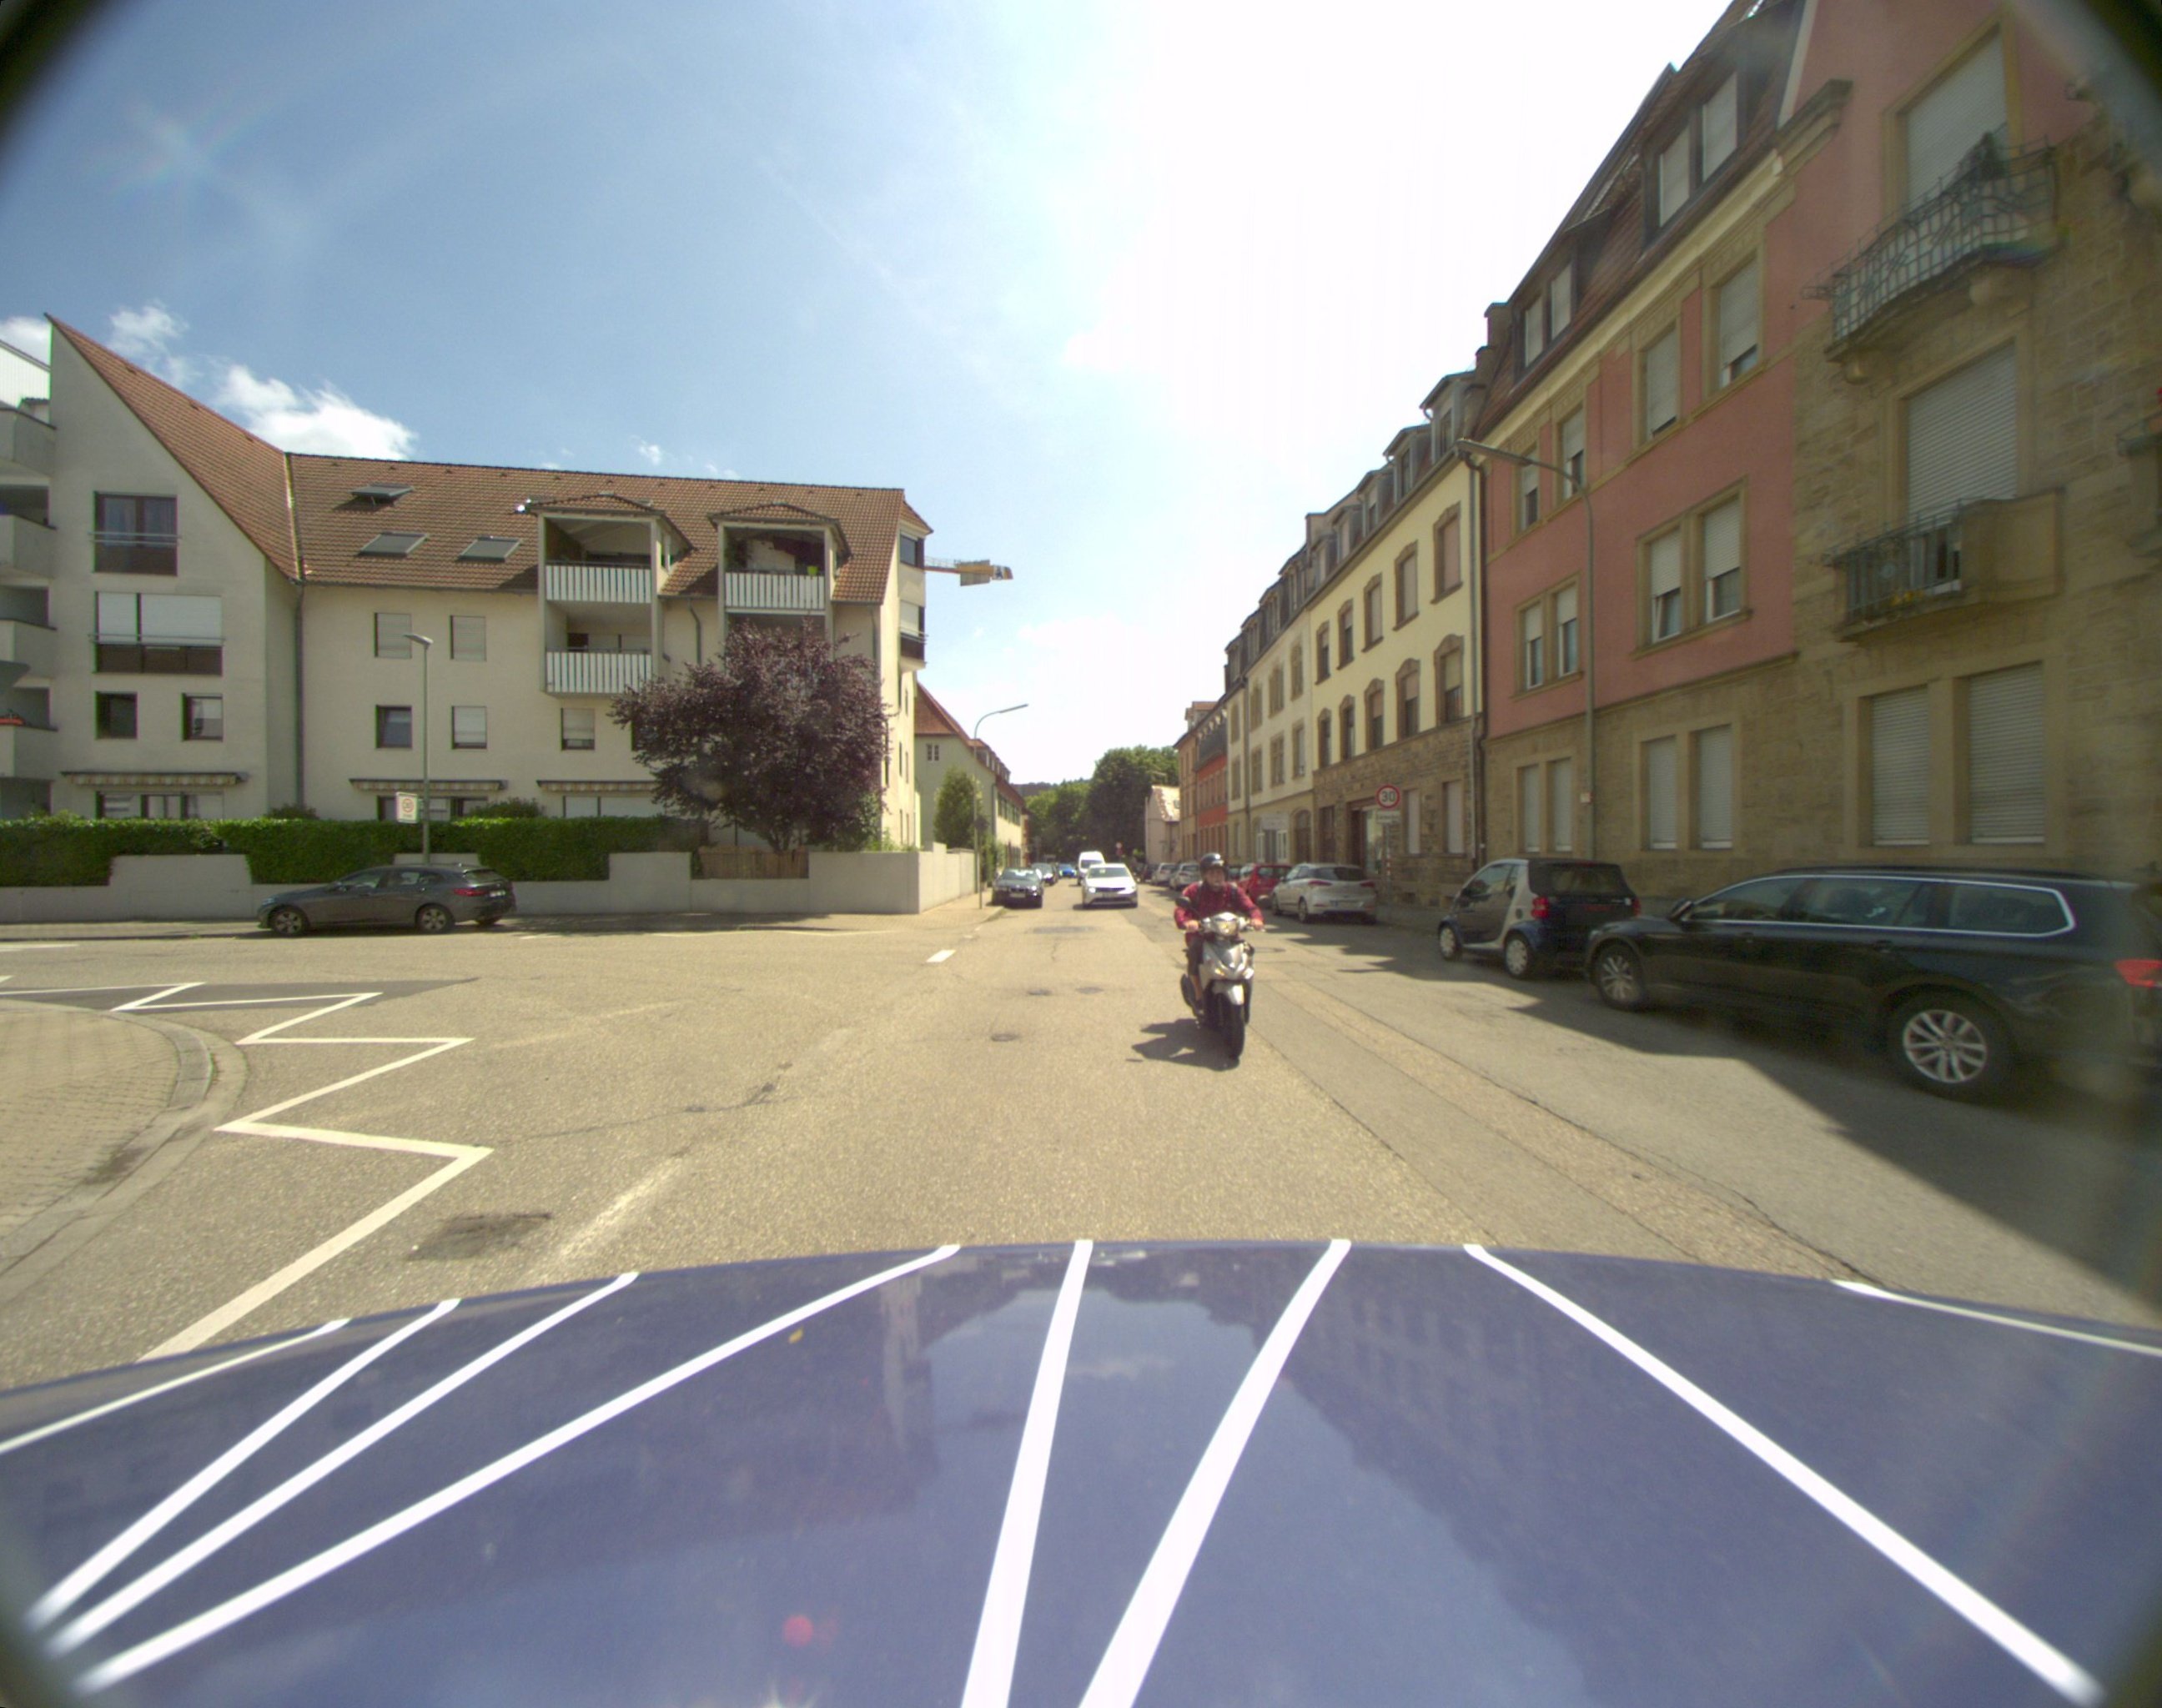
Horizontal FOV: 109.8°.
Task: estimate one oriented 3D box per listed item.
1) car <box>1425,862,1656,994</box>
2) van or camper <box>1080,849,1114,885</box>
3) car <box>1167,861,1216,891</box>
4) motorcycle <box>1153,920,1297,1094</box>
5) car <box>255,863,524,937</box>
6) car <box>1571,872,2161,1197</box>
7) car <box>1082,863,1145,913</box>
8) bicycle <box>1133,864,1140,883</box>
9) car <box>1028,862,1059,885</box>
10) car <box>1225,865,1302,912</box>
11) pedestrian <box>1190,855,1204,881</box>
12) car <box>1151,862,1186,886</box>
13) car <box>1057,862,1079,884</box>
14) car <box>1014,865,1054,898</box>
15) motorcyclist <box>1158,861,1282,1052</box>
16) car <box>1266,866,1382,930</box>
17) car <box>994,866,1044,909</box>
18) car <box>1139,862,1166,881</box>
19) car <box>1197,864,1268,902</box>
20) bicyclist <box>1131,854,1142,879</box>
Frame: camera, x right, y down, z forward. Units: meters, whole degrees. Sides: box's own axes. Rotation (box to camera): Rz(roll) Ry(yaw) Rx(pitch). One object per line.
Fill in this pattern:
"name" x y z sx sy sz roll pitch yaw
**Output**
"car" 6.006 0.882 10.265 1.440 1.514 2.695 0 0 -1
"van or camper" 0.985 0.825 50.591 1.999 2.273 5.144 0 -1 -2
"car" 5.817 1.144 40.471 1.883 1.501 4.381 0 0 -1
"motorcycle" 1.112 1.165 6.359 0.760 1.049 1.991 -1 0 -1
"car" -14.645 0.951 16.306 3.999 1.460 1.736 0 1 -7
"car" 6.114 0.927 5.779 1.787 1.449 4.634 0 0 0
"car" 1.020 1.084 25.603 1.812 1.512 3.999 -1 0 -2
"bicycle" 3.857 1.333 53.019 0.229 1.268 1.882 2 0 -2
"car" -2.546 1.308 52.444 1.851 1.506 4.001 0 0 2
"car" 6.008 1.095 25.371 1.603 1.433 3.494 0 0 -2
"pedestrian" 7.954 0.940 52.008 0.770 1.760 0.763 -2 0 -2
"car" 5.636 1.257 49.274 1.715 1.450 3.853 1 0 -1
"car" -1.216 1.811 74.789 1.998 2.002 4.000 -2 0 0
"car" -2.099 1.224 34.702 1.589 1.345 3.822 1 0 0
"motorcyclist" 1.114 0.788 6.299 0.793 1.431 1.020 -1 0 -1
"car" 6.112 1.044 19.590 1.639 1.423 4.018 1 0 -1
"car" -2.152 1.144 27.298 1.661 1.368 4.238 0 0 -3
"car" 5.765 1.378 61.626 1.732 1.433 3.857 0 0 -2
"car" 6.036 1.118 30.741 1.877 1.430 4.218 0 0 -2
"bicyclist" 3.853 0.861 53.045 0.643 1.752 1.167 1 0 -1
